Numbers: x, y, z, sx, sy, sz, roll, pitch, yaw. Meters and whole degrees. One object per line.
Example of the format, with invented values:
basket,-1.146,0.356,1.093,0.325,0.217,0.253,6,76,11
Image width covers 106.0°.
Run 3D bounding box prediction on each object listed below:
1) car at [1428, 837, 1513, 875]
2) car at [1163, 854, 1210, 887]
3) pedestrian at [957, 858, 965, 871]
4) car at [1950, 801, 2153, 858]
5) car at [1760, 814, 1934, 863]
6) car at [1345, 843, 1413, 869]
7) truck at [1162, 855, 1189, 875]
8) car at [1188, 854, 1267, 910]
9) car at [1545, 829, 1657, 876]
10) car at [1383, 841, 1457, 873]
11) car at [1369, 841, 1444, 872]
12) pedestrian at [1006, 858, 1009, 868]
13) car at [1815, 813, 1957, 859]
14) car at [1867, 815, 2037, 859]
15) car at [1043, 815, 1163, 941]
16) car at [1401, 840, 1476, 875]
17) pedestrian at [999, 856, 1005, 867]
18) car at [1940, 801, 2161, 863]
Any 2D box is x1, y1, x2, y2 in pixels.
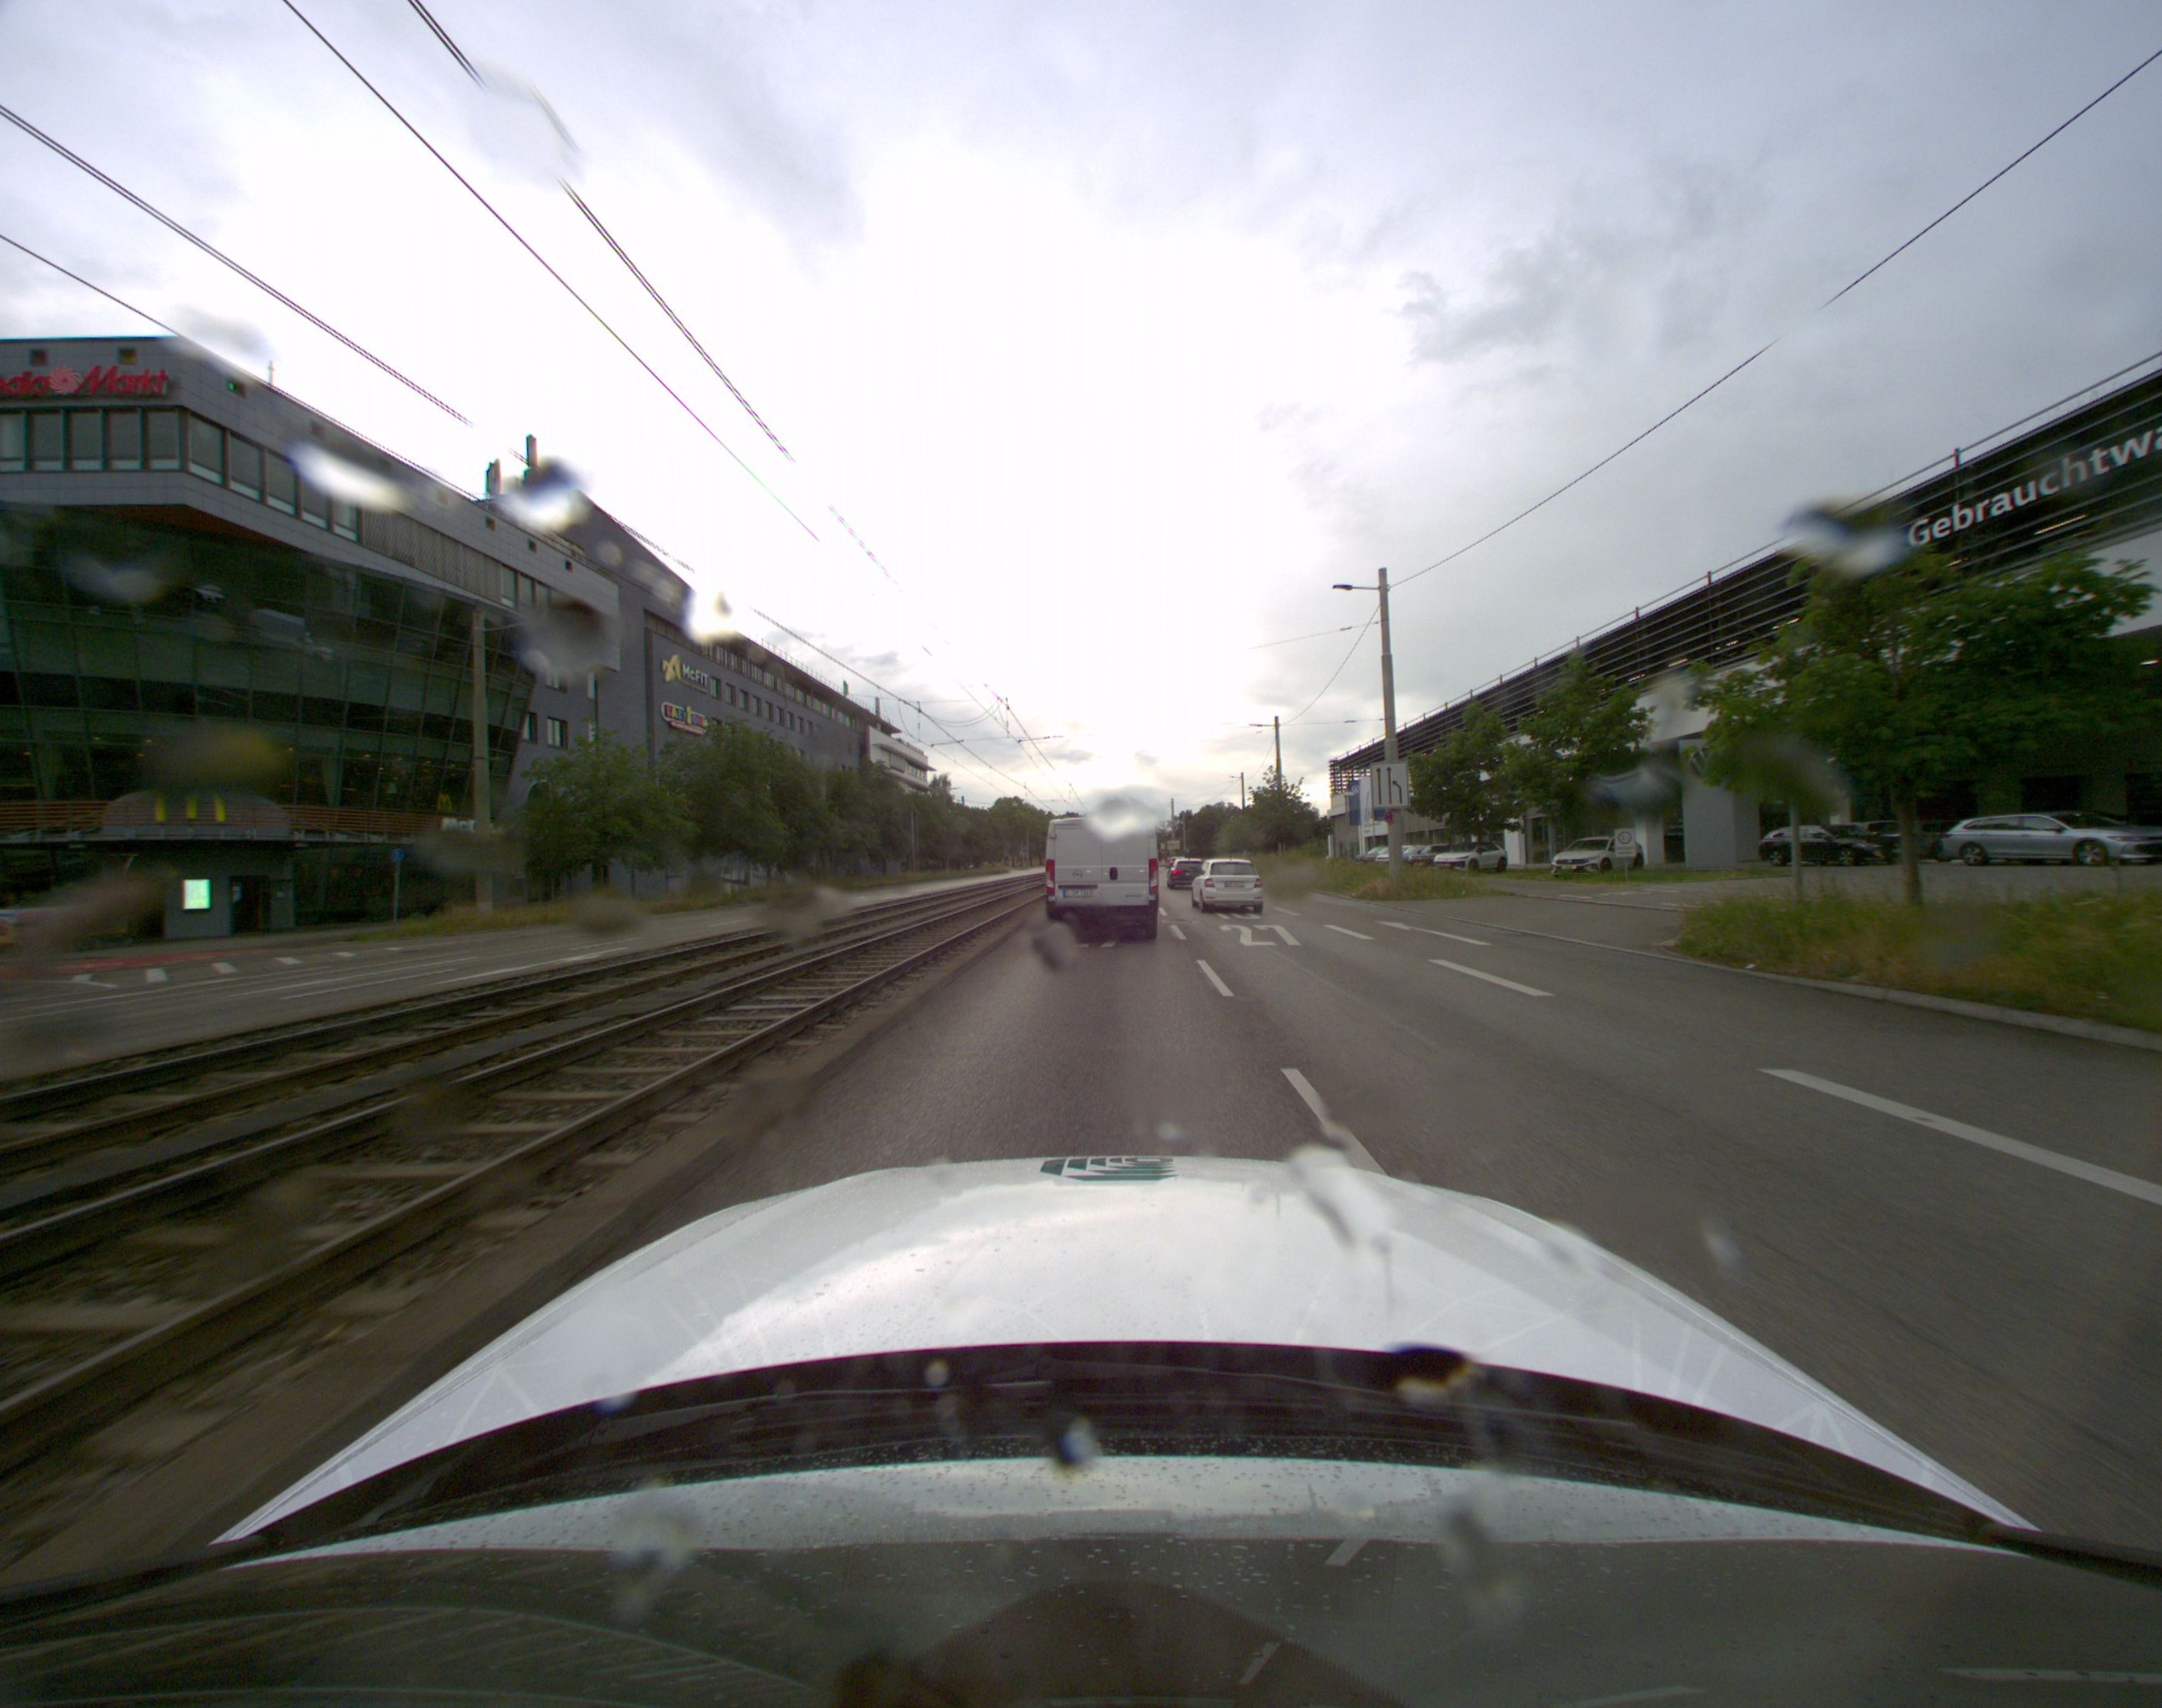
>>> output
car,18.836,0.082,39.313,4.117,1.568,1.780,-3,-1,-34
car,4.933,0.766,38.492,1.783,1.449,4.000,-1,-1,1
pedestrian,-19.809,1.726,134.569,0.879,2.014,0.950,-2,-1,19
car,30.414,-0.747,25.625,3.968,1.728,1.893,0,0,4
car,26.971,-0.488,28.937,1.773,1.468,4.696,-4,-1,2
car,21.143,0.143,57.789,4.637,1.568,1.835,-3,-1,-28
truck,8.992,0.991,77.591,1.987,1.790,4.414,-2,0,0
car,4.084,0.747,23.250,1.739,1.457,3.673,0,0,2
car,19.100,-0.065,29.897,4.113,1.465,1.731,-3,-1,-31
car,19.611,0.180,47.131,4.205,1.568,1.781,-3,-1,-33
car,20.174,0.160,50.490,4.366,1.626,1.840,-3,-1,-28
pedestrian,-13.666,1.649,151.290,0.503,1.787,0.834,0,-1,9
car,31.235,-0.691,31.673,3.802,1.587,1.639,-2,-1,1
car,30.745,-0.585,28.850,3.968,1.508,1.788,0,0,4
car,0.488,0.415,16.803,2.082,2.196,5.064,0,0,2
car,19.064,0.163,43.348,4.211,1.568,1.778,-3,-2,-38
pedestrian,-14.907,1.492,153.802,0.883,2.014,0.867,-2,-1,4
car,27.014,-0.562,22.374,1.887,1.468,4.698,-4,-1,2
